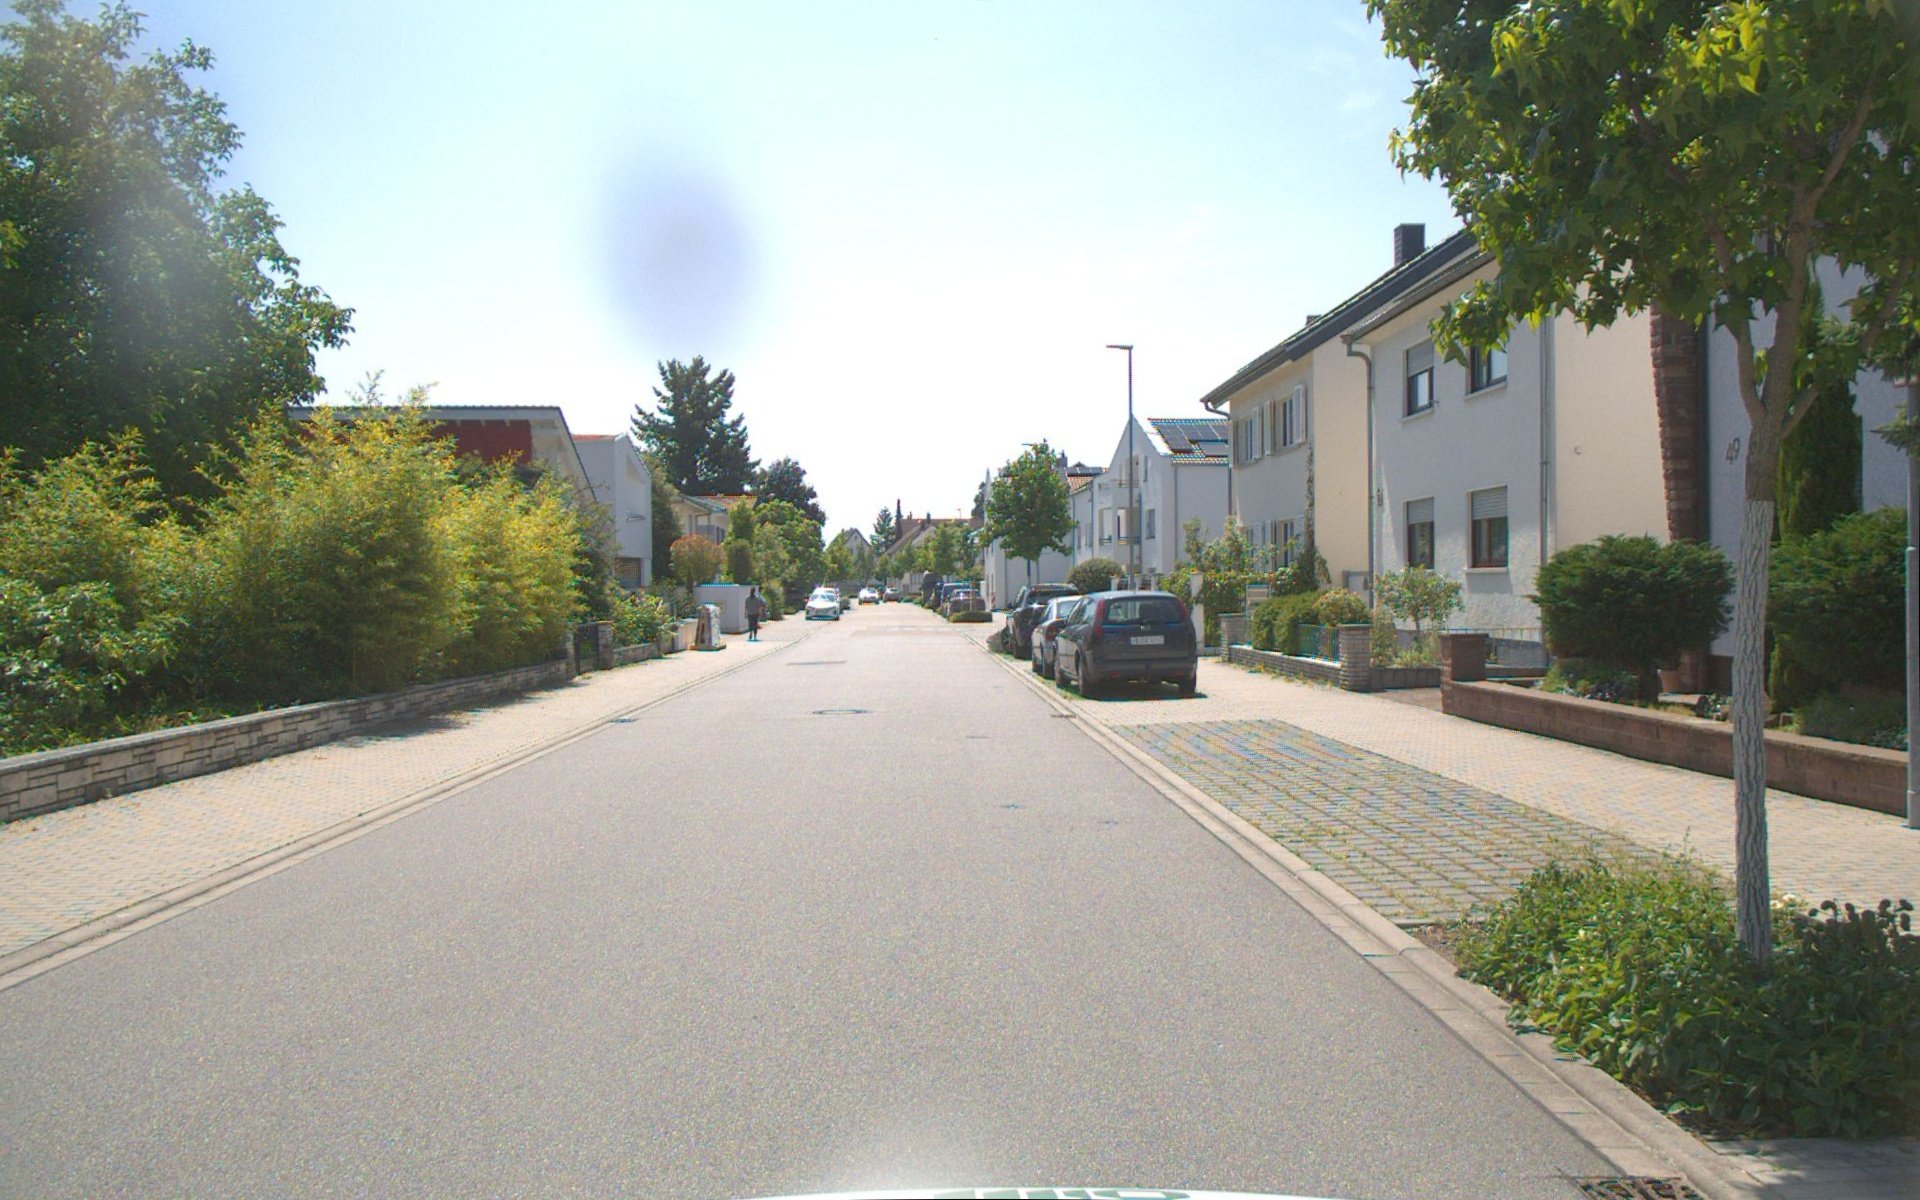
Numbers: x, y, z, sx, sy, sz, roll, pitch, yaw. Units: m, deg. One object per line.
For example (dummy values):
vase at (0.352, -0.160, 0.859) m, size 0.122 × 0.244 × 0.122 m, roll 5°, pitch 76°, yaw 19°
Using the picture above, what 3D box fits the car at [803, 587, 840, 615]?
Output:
car at (-7.640, 0.036, 91.658) m, size 1.815 × 1.514 × 4.383 m, roll -1°, pitch 0°, yaw -2°

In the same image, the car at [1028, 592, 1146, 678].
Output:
car at (2.303, 0.597, 30.929) m, size 1.777 × 1.445 × 4.092 m, roll -1°, pitch 1°, yaw -2°

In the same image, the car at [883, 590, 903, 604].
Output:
car at (-6.821, -0.304, 168.541) m, size 1.953 × 1.455 × 3.999 m, roll -1°, pitch 0°, yaw -1°

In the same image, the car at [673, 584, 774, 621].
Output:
car at (-11.028, 0.122, 77.241) m, size 4.337 × 1.499 × 1.851 m, roll 3°, pitch 0°, yaw 1°

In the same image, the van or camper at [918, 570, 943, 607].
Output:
van or camper at (-2.494, -0.980, 139.401) m, size 1.954 × 2.993 × 3.998 m, roll -1°, pitch 0°, yaw -3°

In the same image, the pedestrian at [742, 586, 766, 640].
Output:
pedestrian at (-6.909, 0.425, 55.583) m, size 0.700 × 1.777 × 0.960 m, roll -1°, pitch 0°, yaw -2°

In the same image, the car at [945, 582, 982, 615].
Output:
car at (0.188, -0.107, 100.277) m, size 2.057 × 1.915 × 4.841 m, roll -1°, pitch 0°, yaw -1°

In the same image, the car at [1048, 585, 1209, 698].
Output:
car at (2.475, 0.565, 25.321) m, size 1.707 × 1.560 × 4.445 m, roll -1°, pitch 0°, yaw -4°

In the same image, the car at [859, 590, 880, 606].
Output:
car at (-8.572, -0.207, 156.583) m, size 1.815 × 1.504 × 4.699 m, roll -1°, pitch 0°, yaw -1°

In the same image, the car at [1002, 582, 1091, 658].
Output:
car at (2.018, 0.426, 39.942) m, size 1.777 × 1.685 × 4.563 m, roll -1°, pitch 1°, yaw -2°

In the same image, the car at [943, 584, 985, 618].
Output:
car at (0.167, 0.027, 83.405) m, size 1.738 × 1.623 × 4.275 m, roll -1°, pitch 0°, yaw -5°
